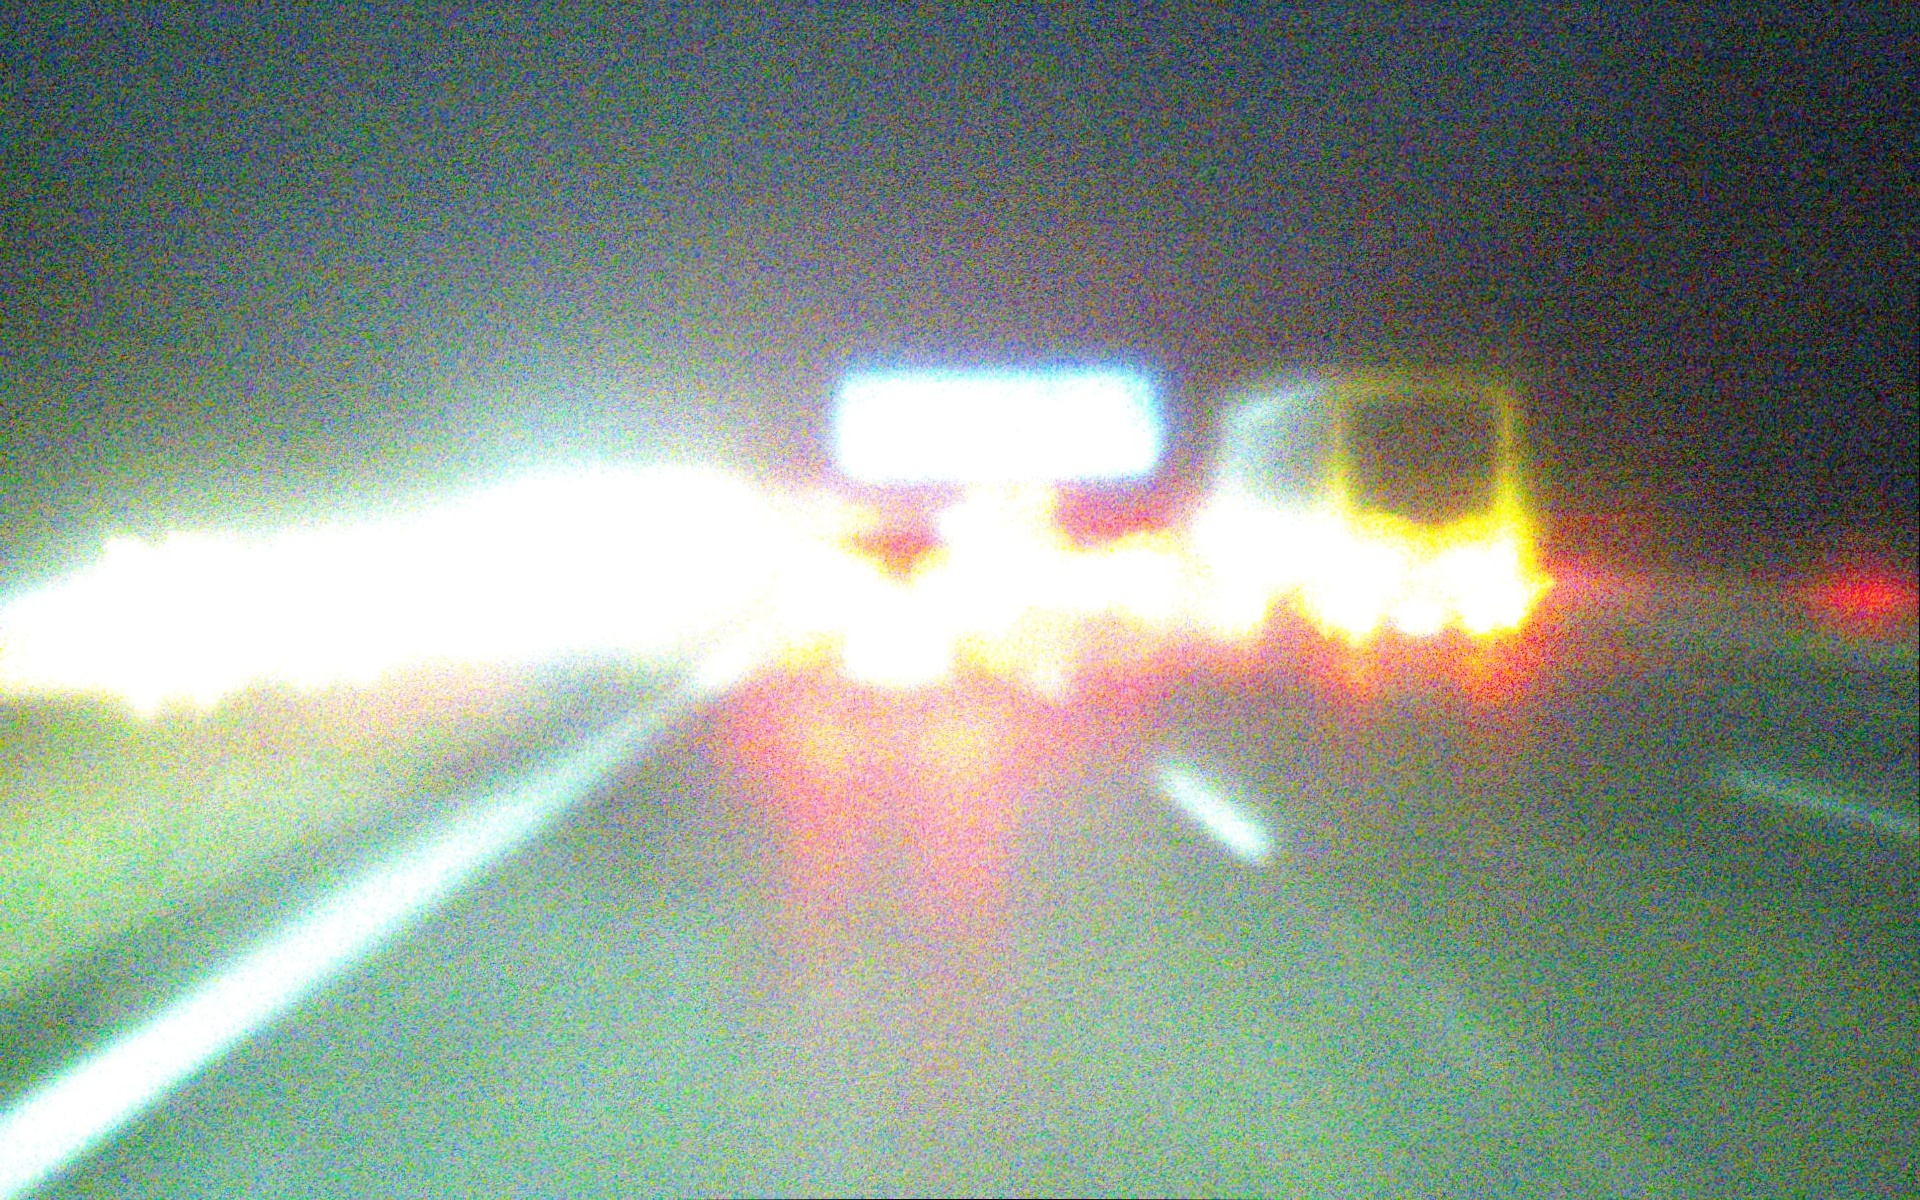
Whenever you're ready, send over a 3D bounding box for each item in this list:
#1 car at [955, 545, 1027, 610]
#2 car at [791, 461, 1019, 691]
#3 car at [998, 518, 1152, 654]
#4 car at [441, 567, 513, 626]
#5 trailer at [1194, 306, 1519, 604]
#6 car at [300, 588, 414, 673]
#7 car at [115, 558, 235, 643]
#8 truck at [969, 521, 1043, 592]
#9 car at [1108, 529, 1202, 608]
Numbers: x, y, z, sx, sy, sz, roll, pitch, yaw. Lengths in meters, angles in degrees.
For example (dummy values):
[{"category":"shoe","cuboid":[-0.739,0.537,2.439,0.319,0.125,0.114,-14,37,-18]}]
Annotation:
[{"category":"car","cuboid":[0.997,-0.751,112.928,1.993,2.007,4.001,-2,1,-4]},{"category":"car","cuboid":[-0.509,-0.232,32.051,1.993,2.007,4.000,0,1,-1]},{"category":"car","cuboid":[1.788,-0.244,54.843,1.993,2.007,4.001,-2,1,-4]},{"category":"car","cuboid":[-15.625,-0.139,111.420,1.993,1.754,4.001,1,2,-4]},{"category":"trailer","cuboid":[6.054,-2.144,55.300,3.041,4.094,13.830,-2,1,-2]},{"category":"car","cuboid":[-14.091,0.692,80.517,1.993,1.754,4.656,1,2,-2]},{"category":"car","cuboid":[-18.661,-0.011,81.929,1.993,1.809,5.095,1,2,-4]},{"category":"truck","cuboid":[2.212,-2.164,169.785,3.037,3.286,11.382,-2,1,-2]},{"category":"car","cuboid":[5.232,-0.865,92.612,1.993,2.007,4.001,-2,1,-4]}]
